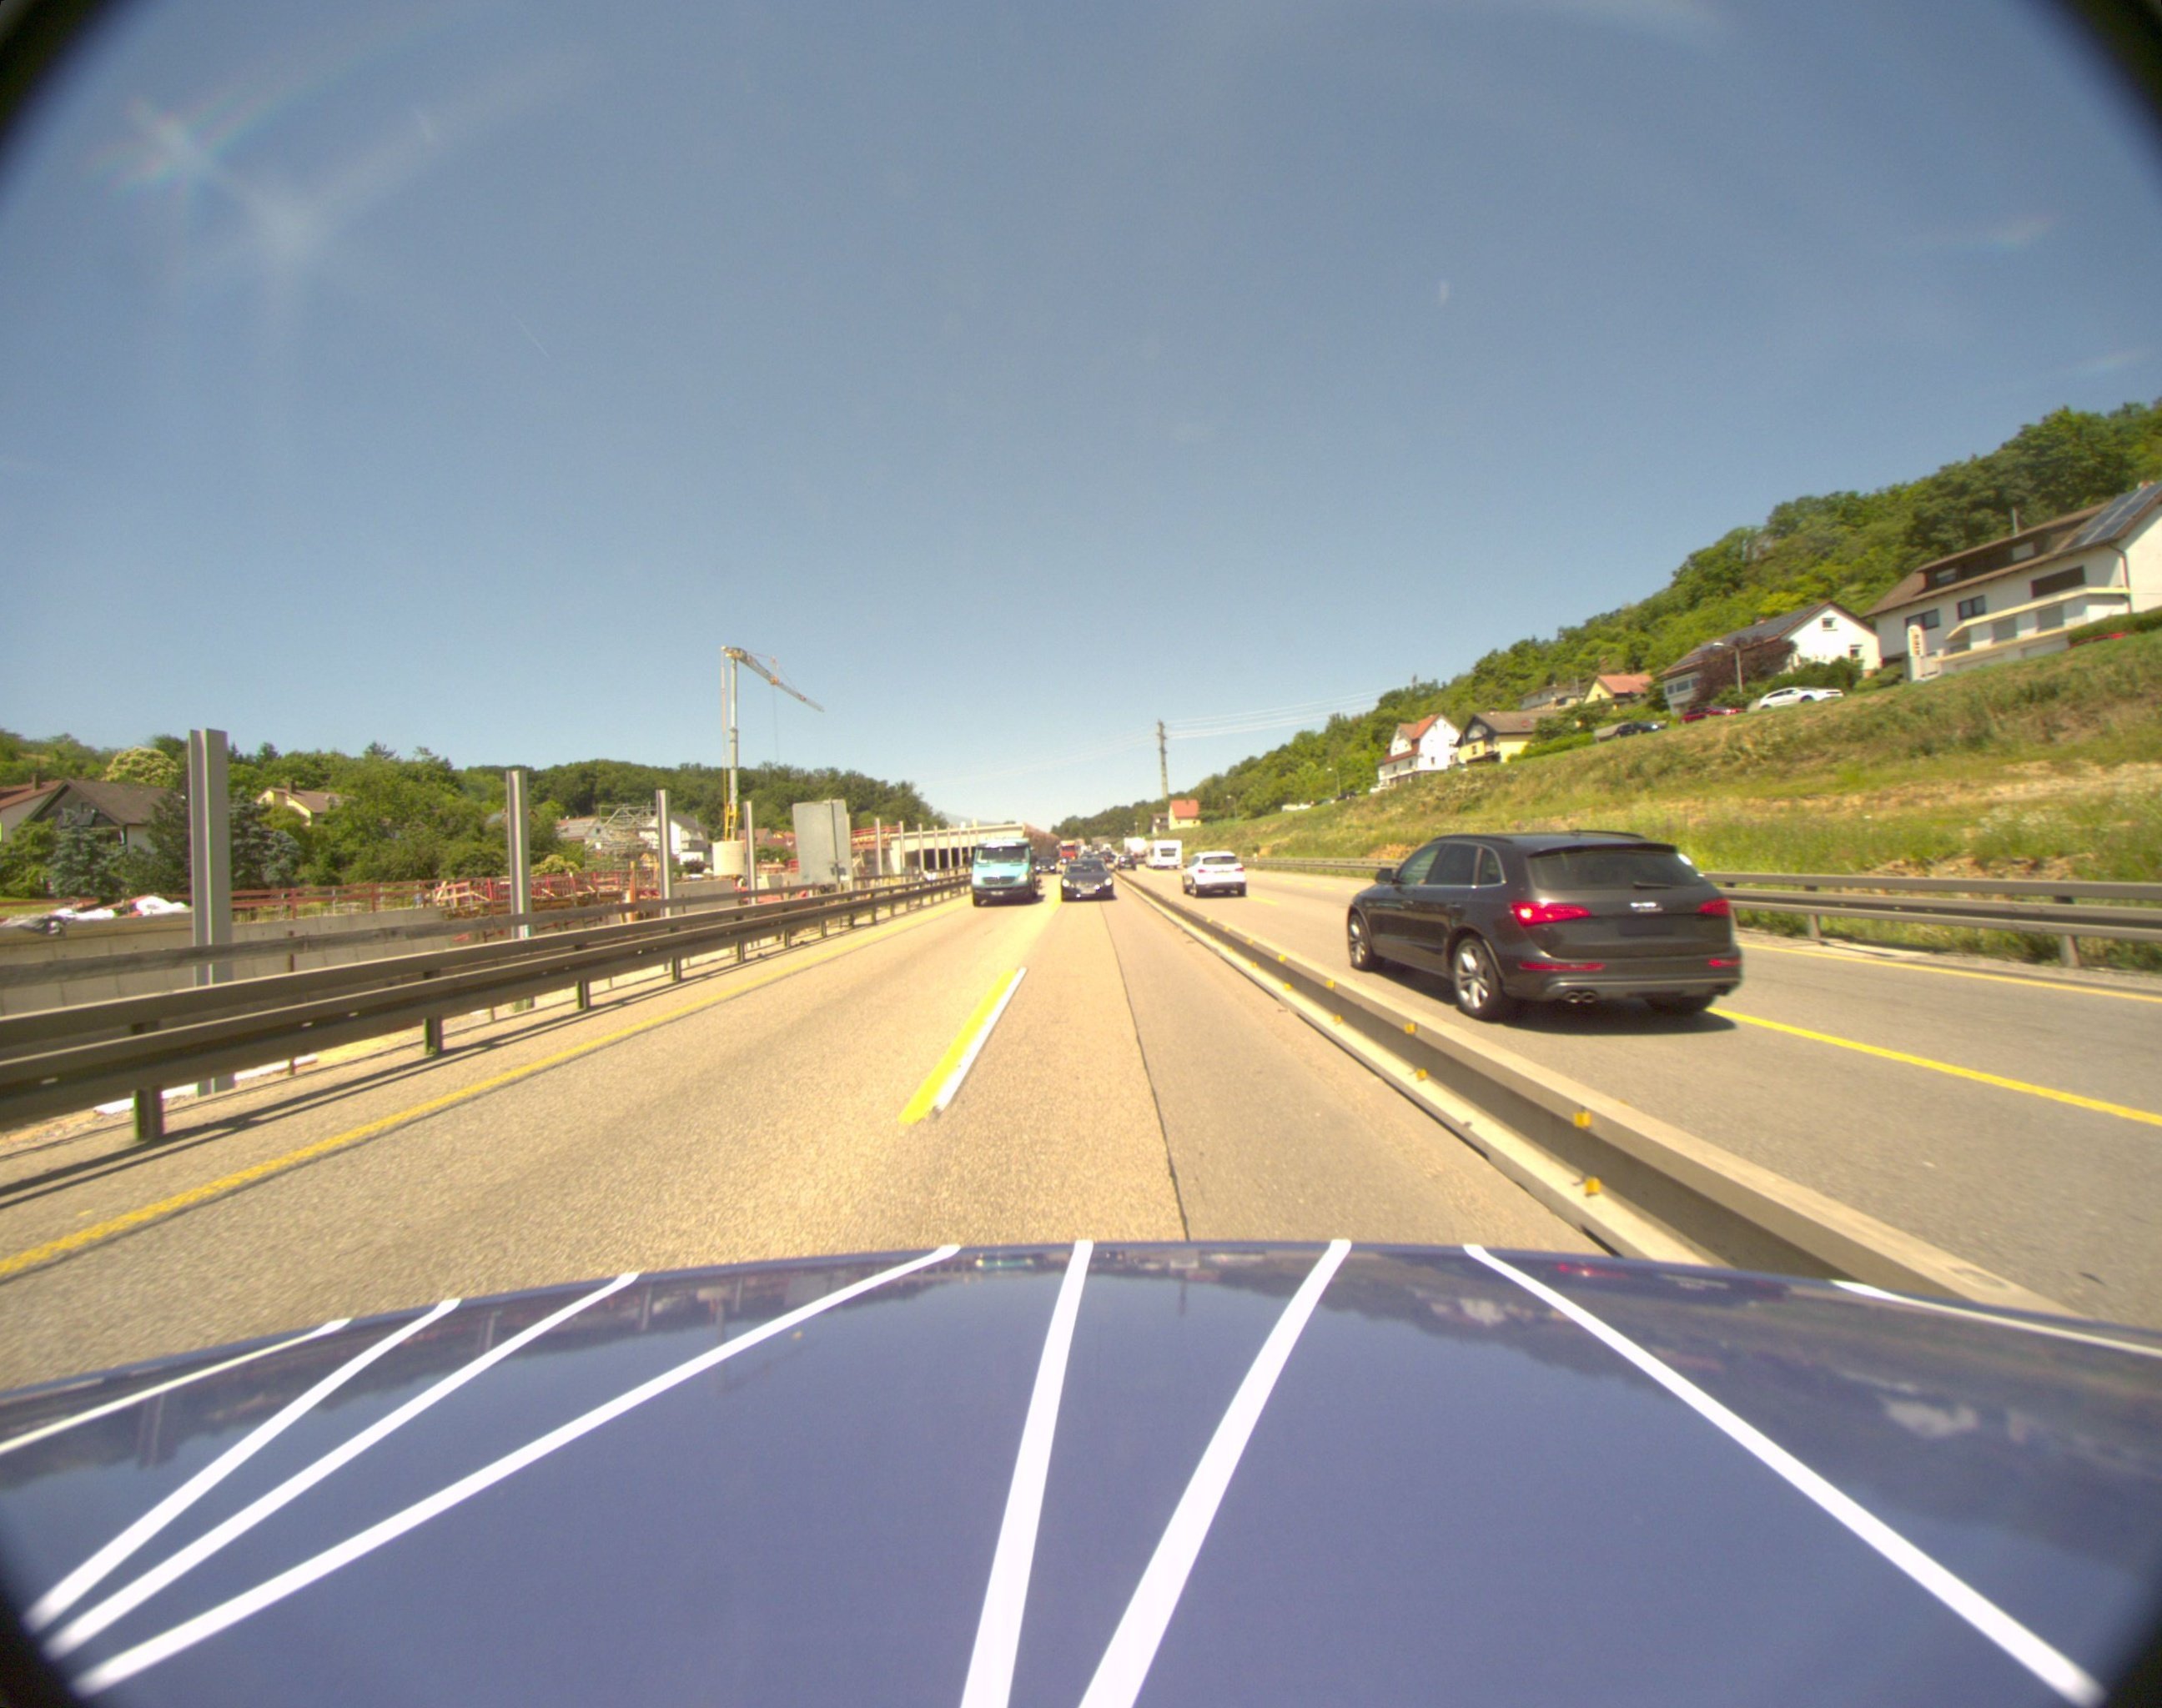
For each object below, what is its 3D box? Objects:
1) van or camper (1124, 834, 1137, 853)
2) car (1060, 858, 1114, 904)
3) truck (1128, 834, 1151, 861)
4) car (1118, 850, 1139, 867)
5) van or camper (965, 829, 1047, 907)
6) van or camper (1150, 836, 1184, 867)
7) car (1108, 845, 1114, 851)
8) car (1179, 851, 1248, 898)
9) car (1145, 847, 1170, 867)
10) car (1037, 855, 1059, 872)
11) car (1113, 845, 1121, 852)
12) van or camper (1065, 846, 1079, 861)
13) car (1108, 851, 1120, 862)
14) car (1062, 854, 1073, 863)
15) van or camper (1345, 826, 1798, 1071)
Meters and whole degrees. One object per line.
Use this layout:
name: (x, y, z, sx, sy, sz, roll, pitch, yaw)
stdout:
van or camper: (7.463, -1.583, 115.567, 1.566, 2.745, 5.181, -4, 0, 1)
car: (0.224, 0.893, 27.228, 1.747, 1.420, 4.000, -2, 0, 1)
truck: (8.014, -0.893, 104.899, 2.385, 3.412, 9.305, -1, 0, 1)
car: (4.274, 0.392, 68.487, 1.660, 1.420, 3.175, -3, 0, 1)
van or camper: (-2.593, 0.442, 28.376, 2.097, 2.458, 7.671, -2, 0, 1)
van or camper: (7.792, -0.204, 69.308, 2.382, 2.634, 6.051, -2, 0, 1)
car: (9.673, -1.928, 245.067, 1.780, 1.740, 3.708, -2, 1, 1)
car: (4.614, 0.673, 27.033, 1.677, 1.468, 4.540, -2, 0, 1)
car: (7.707, 0.286, 76.826, 1.998, 1.809, 3.665, -4, 0, 1)
car: (-2.761, 0.814, 64.560, 1.611, 1.324, 3.496, -3, 0, 1)
car: (9.155, -1.391, 191.545, 1.780, 1.652, 3.575, -2, 1, 0)
van or camper: (-1.548, -0.055, 139.882, 2.321, 2.513, 4.527, -4, 0, 1)
car: (4.867, 0.315, 113.602, 1.601, 1.499, 3.161, -4, 0, 1)
car: (-2.142, 0.718, 122.715, 1.679, 1.346, 3.486, -4, 0, 1)
van or camper: (4.134, 0.659, 7.298, 1.832, 1.658, 3.888, -2, 0, 1)
